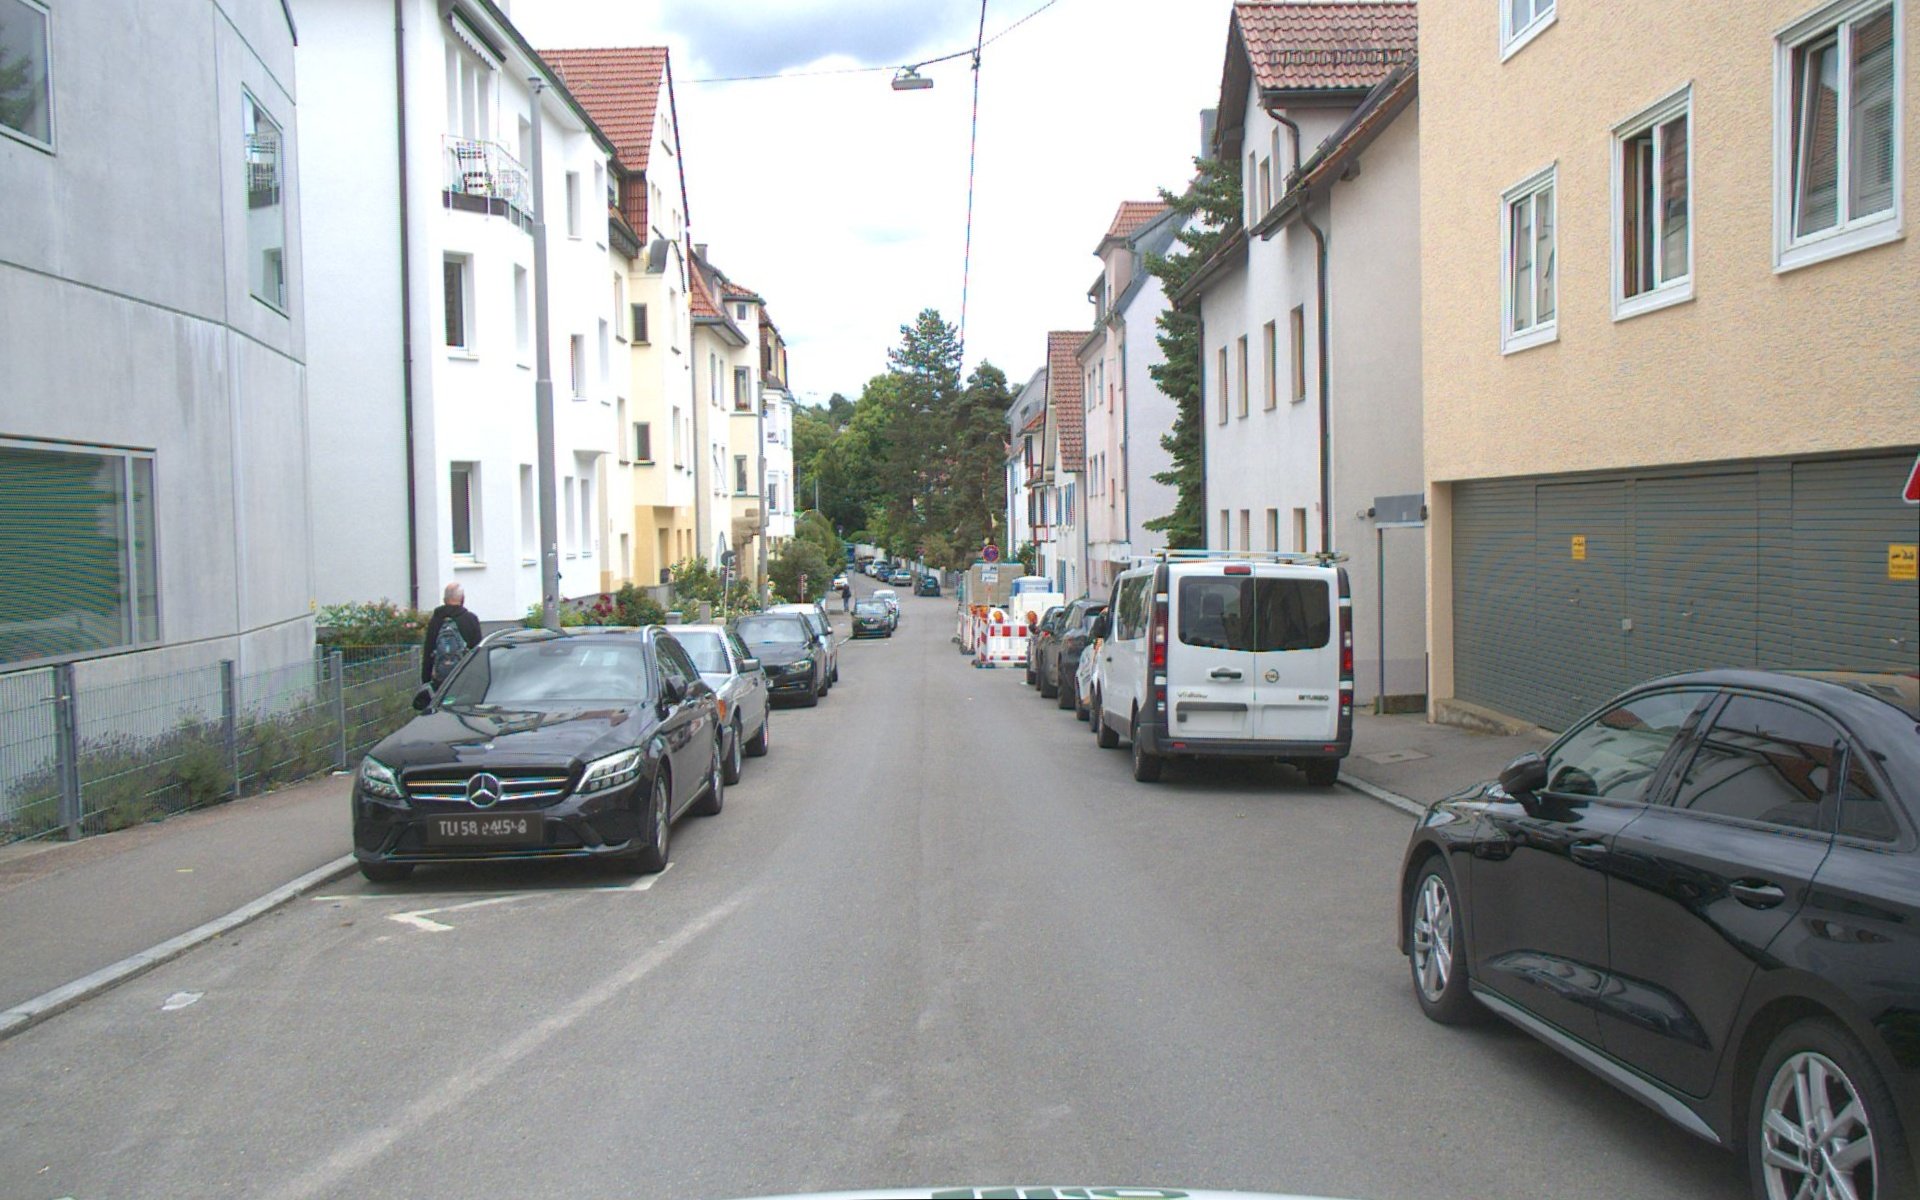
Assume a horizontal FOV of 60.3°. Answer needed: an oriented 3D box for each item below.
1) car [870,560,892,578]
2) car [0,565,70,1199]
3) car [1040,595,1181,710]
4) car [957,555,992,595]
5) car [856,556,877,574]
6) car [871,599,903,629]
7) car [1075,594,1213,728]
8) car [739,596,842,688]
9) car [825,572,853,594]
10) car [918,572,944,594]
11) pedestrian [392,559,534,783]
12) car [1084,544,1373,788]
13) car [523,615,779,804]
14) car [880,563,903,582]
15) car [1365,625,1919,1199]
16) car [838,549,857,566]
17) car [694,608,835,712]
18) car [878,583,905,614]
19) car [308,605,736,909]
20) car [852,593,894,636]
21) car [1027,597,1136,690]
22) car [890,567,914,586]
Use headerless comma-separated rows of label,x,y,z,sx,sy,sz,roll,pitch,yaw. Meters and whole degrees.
car,-7.400,-2.904,154.629,1.604,1.564,3.523,0,4,-10
car,-2.406,0.749,0.815,1.808,1.542,4.238,-1,0,-3
car,2.272,0.752,26.001,1.678,1.624,4.497,0,0,-2
car,0.854,-1.568,101.818,1.940,2.403,4.276,-1,1,-2
car,-9.051,-3.383,160.172,1.604,1.564,3.523,0,4,-10
car,-3.819,0.733,87.250,1.609,1.441,3.982,-2,0,-2
car,2.344,0.741,21.615,1.456,1.624,2.790,0,0,-1
car,-3.336,0.786,33.233,1.808,1.659,4.284,-1,0,-3
car,-10.351,-1.481,141.146,1.644,1.685,3.850,-3,3,-14
car,-2.324,-1.381,132.202,1.604,1.509,3.524,0,4,-9
pedestrian,-4.406,0.615,14.698,0.800,1.917,0.847,-2,0,21
car,2.485,0.535,16.844,1.867,2.065,5.731,0,0,-2
car,-2.843,0.931,16.290,1.808,1.437,5.058,-1,1,-3
car,-6.143,-2.511,148.391,1.604,1.509,3.523,0,4,-10
car,2.766,0.844,4.932,1.815,1.428,4.573,0,0,-3
car,-11.910,-4.485,174.579,1.604,1.564,3.523,0,4,-10
car,-3.104,0.911,27.110,1.807,1.483,4.503,-2,0,-1
car,-4.370,-0.094,105.410,1.639,1.685,3.863,-2,3,-2
car,-2.625,0.858,11.037,1.858,1.554,4.467,-1,-1,-3
car,-4.073,0.652,76.653,1.809,1.847,4.540,-2,0,-4
car,2.209,0.760,30.916,1.680,1.593,4.072,0,0,-1
car,-5.085,-2.054,143.862,1.604,1.509,3.523,0,4,-10
